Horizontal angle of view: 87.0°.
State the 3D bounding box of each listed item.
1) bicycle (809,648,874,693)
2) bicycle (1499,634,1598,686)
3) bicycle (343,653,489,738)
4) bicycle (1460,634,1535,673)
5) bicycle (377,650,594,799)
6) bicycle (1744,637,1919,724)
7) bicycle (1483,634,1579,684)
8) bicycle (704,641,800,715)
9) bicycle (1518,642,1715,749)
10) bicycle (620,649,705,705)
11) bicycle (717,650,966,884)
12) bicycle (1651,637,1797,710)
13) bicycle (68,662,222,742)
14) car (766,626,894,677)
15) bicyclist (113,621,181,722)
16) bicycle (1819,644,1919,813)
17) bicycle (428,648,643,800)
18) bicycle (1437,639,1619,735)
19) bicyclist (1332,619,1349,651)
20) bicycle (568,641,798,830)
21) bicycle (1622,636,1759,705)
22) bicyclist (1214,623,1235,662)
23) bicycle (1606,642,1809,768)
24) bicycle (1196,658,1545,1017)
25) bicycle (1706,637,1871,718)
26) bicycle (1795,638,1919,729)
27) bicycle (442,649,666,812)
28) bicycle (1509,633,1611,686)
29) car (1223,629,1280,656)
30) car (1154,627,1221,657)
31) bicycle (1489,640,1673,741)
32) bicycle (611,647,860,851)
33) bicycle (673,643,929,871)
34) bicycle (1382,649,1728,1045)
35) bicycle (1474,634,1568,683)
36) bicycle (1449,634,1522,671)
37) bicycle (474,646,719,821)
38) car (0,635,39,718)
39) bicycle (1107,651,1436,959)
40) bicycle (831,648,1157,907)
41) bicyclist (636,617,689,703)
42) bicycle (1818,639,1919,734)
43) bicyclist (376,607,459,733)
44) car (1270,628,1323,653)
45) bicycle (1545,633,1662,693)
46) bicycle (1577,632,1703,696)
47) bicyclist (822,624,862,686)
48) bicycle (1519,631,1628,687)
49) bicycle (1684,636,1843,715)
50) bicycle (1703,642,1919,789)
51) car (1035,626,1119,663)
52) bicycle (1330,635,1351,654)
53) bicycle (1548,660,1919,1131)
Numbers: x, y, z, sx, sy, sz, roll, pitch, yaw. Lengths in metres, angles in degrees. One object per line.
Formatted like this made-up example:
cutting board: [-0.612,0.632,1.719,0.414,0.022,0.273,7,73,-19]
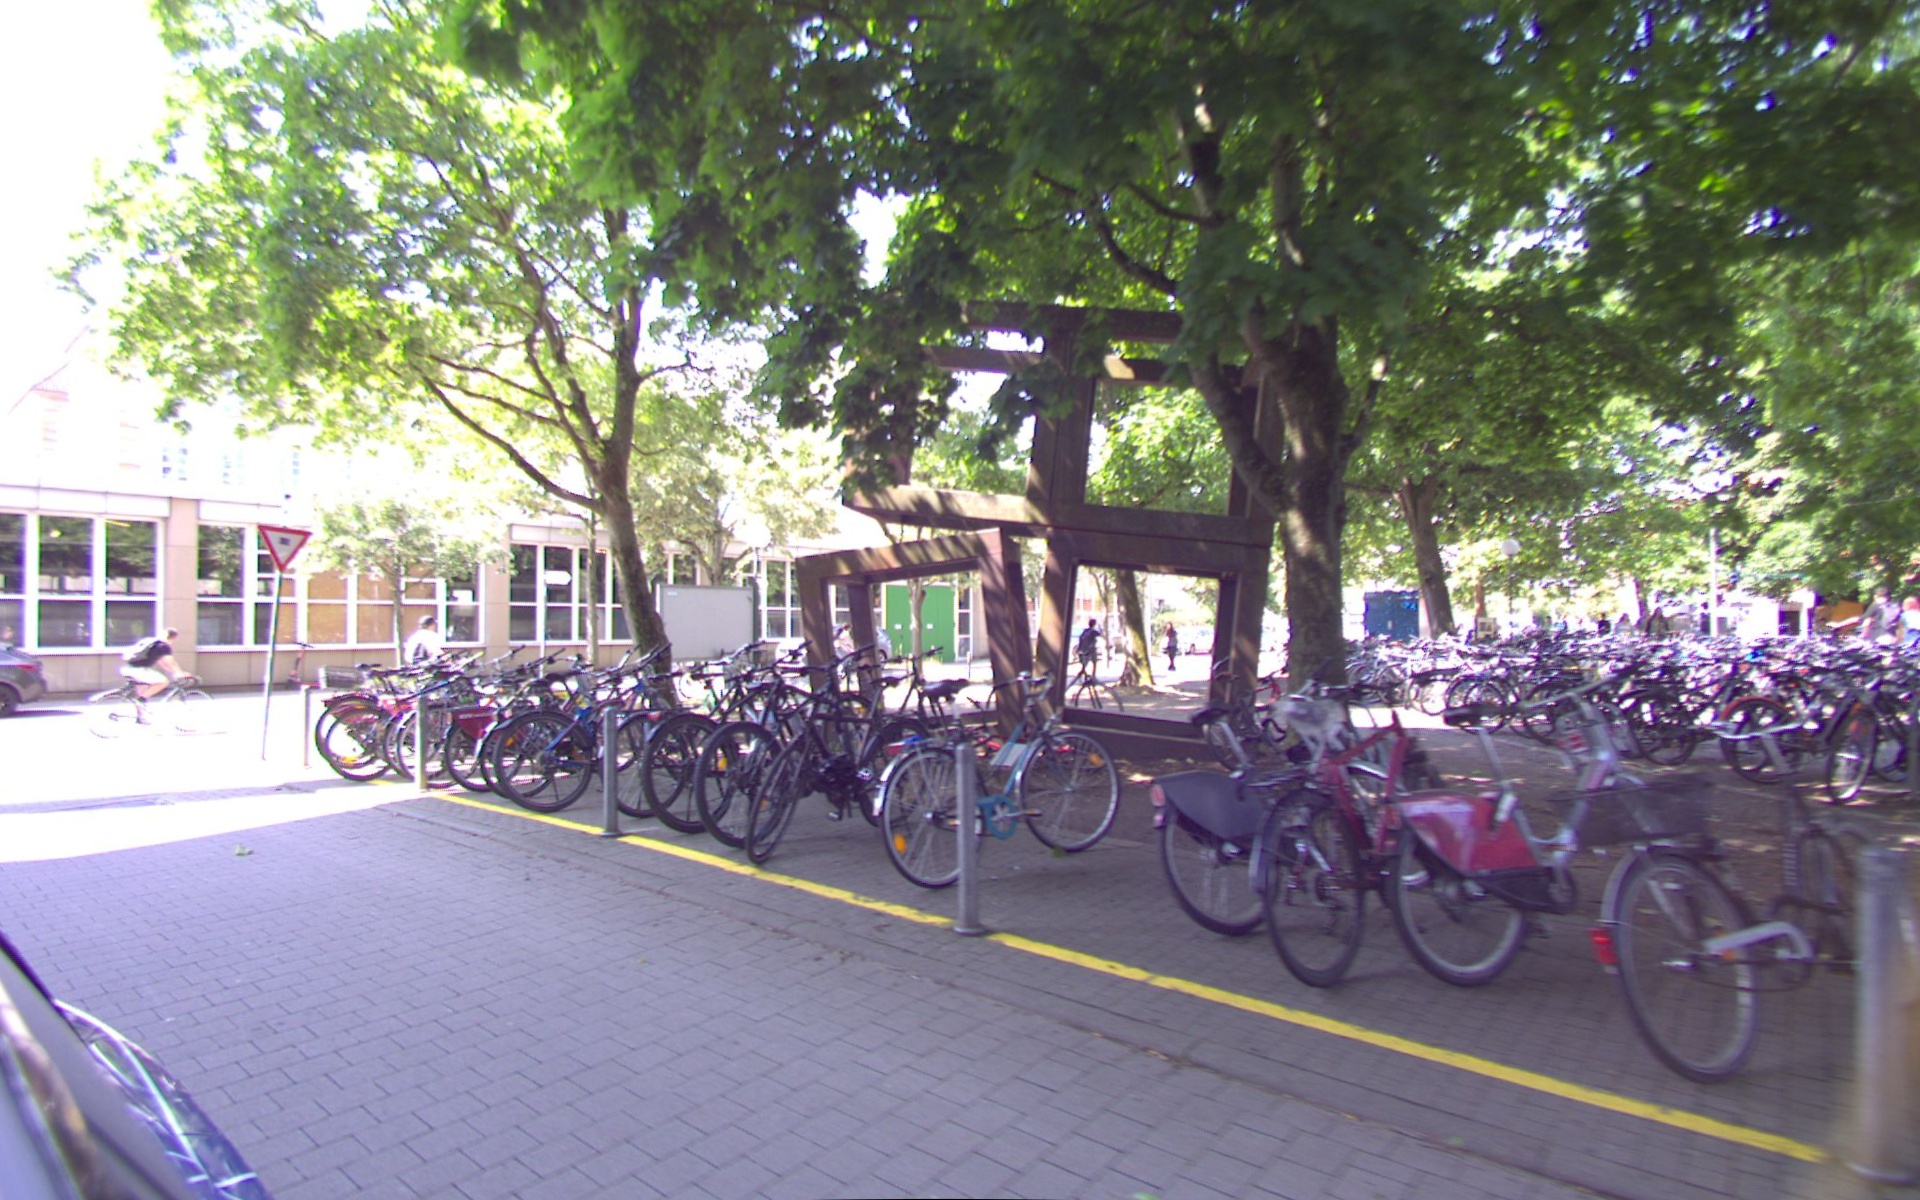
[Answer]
bicycle: [-3.131,1.848,26.917,0.639,1.116,1.797,0,-1,37]
bicycle: [12.918,1.316,22.226,1.834,1.092,0.473,-1,-1,3]
bicycle: [-8.514,1.459,15.922,0.803,1.181,1.865,-1,-2,33]
bicycle: [15.479,1.531,29.170,1.838,1.092,0.473,-1,-1,10]
bicycle: [-4.105,1.028,8.832,0.630,1.116,1.606,-1,-1,45]
bicycle: [11.441,1.050,13.300,1.834,1.092,0.473,-1,-1,3]
bicycle: [12.843,1.328,22.786,1.834,1.092,0.473,-1,-1,3]
bicycle: [-3.434,1.265,16.854,0.392,1.116,1.818,-1,-1,34]
bicycle: [7.119,1.028,11.017,1.756,1.116,0.502,-1,-1,3]
bicycle: [-6.826,1.746,23.310,0.674,1.149,1.863,-1,0,37]
bicycle: [-0.634,0.886,5.942,0.496,1.116,1.610,-1,-1,35]
bicycle: [11.854,1.135,15.725,1.834,1.092,0.473,-1,-1,3]
bicycle: [-12.879,1.581,16.039,0.605,1.116,1.805,1,-1,42]
car: [-4.526,1.762,35.792,1.836,1.630,4.480,0,-1,38]
bicyclist: [-12.885,1.110,16.042,0.605,1.546,0.717,0,-1,42]
bicycle: [7.129,0.883,7.242,1.672,1.116,0.504,-1,-1,-9]
bicycle: [-3.564,0.997,8.591,1.606,1.116,0.506,0,-1,-45]
bicycle: [6.887,1.052,12.327,1.882,1.116,0.502,-1,-1,3]
bicyclist: [22.691,2.109,60.351,0.668,1.889,0.817,-3,-3,35]
bicycle: [-1.953,0.907,7.322,0.497,1.159,1.607,-1,-1,41]
bicycle: [12.040,1.154,16.701,1.834,1.092,0.473,-1,-1,3]
bicyclist: [12.256,1.965,46.894,0.603,1.815,0.888,-3,-3,34]
bicycle: [7.099,0.975,9.630,1.672,1.116,0.504,-1,-1,-9]
bicycle: [1.683,0.827,4.039,1.603,1.116,0.498,0,-1,-36]
bicycle: [11.566,1.077,14.159,1.834,1.092,0.473,-1,-1,3]
bicycle: [11.534,1.030,12.584,1.834,1.092,0.473,-1,-1,3]
bicycle: [-3.224,0.990,8.146,1.606,1.116,0.497,0,-1,-45]
bicycle: [12.782,1.271,21.580,1.834,1.092,0.473,-1,-1,3]
car: [18.060,2.611,62.524,1.836,1.553,4.480,-2,-3,38]
car: [12.653,2.313,56.068,1.836,1.553,4.480,-2,-3,38]
bicycle: [7.175,1.037,11.738,1.756,1.116,0.502,-1,-1,3]
bicycle: [-1.438,0.906,6.742,0.643,1.116,1.610,-1,-1,35]
bicycle: [-0.928,0.889,6.363,0.496,1.170,1.764,-1,-1,35]
bicycle: [2.276,0.794,3.796,1.603,1.152,0.498,0,-1,-36]
bicycle: [12.948,1.351,23.383,1.834,1.092,0.473,-1,-1,3]
bicycle: [15.746,1.580,30.353,1.838,1.092,0.473,-1,-1,10]
bicycle: [-2.706,0.938,7.644,1.606,1.116,0.691,0,-1,-45]
car: [-19.426,1.426,18.132,1.652,1.487,4.155,0,0,40]
bicycle: [1.454,0.823,4.598,1.603,1.116,0.564,0,-1,-36]
bicycle: [0.222,0.855,5.469,1.699,1.116,0.720,0,-1,-39]
bicyclist: [-6.848,1.361,23.305,0.674,1.902,0.957,-1,-1,37]
bicycle: [11.373,1.019,12.035,1.834,1.092,0.473,-1,-1,3]
bicyclist: [-8.523,1.075,15.905,0.803,1.906,0.858,-1,-2,33]
car: [22.156,2.656,66.576,1.836,1.553,4.480,-2,-3,38]
bicycle: [12.079,1.179,19.032,1.834,1.092,0.473,-1,-1,3]
bicycle: [11.962,1.123,17.827,1.834,1.092,0.473,-1,-1,3]
bicyclist: [-3.135,1.447,26.901,0.639,1.585,0.864,0,-1,37]
bicycle: [12.298,1.184,20.318,1.834,1.092,0.473,-1,-1,3]
bicycle: [11.635,1.087,14.683,1.834,1.092,0.473,-1,-1,3]
bicycle: [7.198,0.928,8.415,1.672,1.116,0.633,-1,-1,-9]
car: [5.553,2.077,47.582,1.836,1.646,4.480,-2,-3,38]
bicycle: [22.695,2.651,60.335,0.668,1.116,2.048,-3,-3,34]
bicycle: [2.680,0.791,3.262,1.711,1.116,0.576,0,-1,-30]
